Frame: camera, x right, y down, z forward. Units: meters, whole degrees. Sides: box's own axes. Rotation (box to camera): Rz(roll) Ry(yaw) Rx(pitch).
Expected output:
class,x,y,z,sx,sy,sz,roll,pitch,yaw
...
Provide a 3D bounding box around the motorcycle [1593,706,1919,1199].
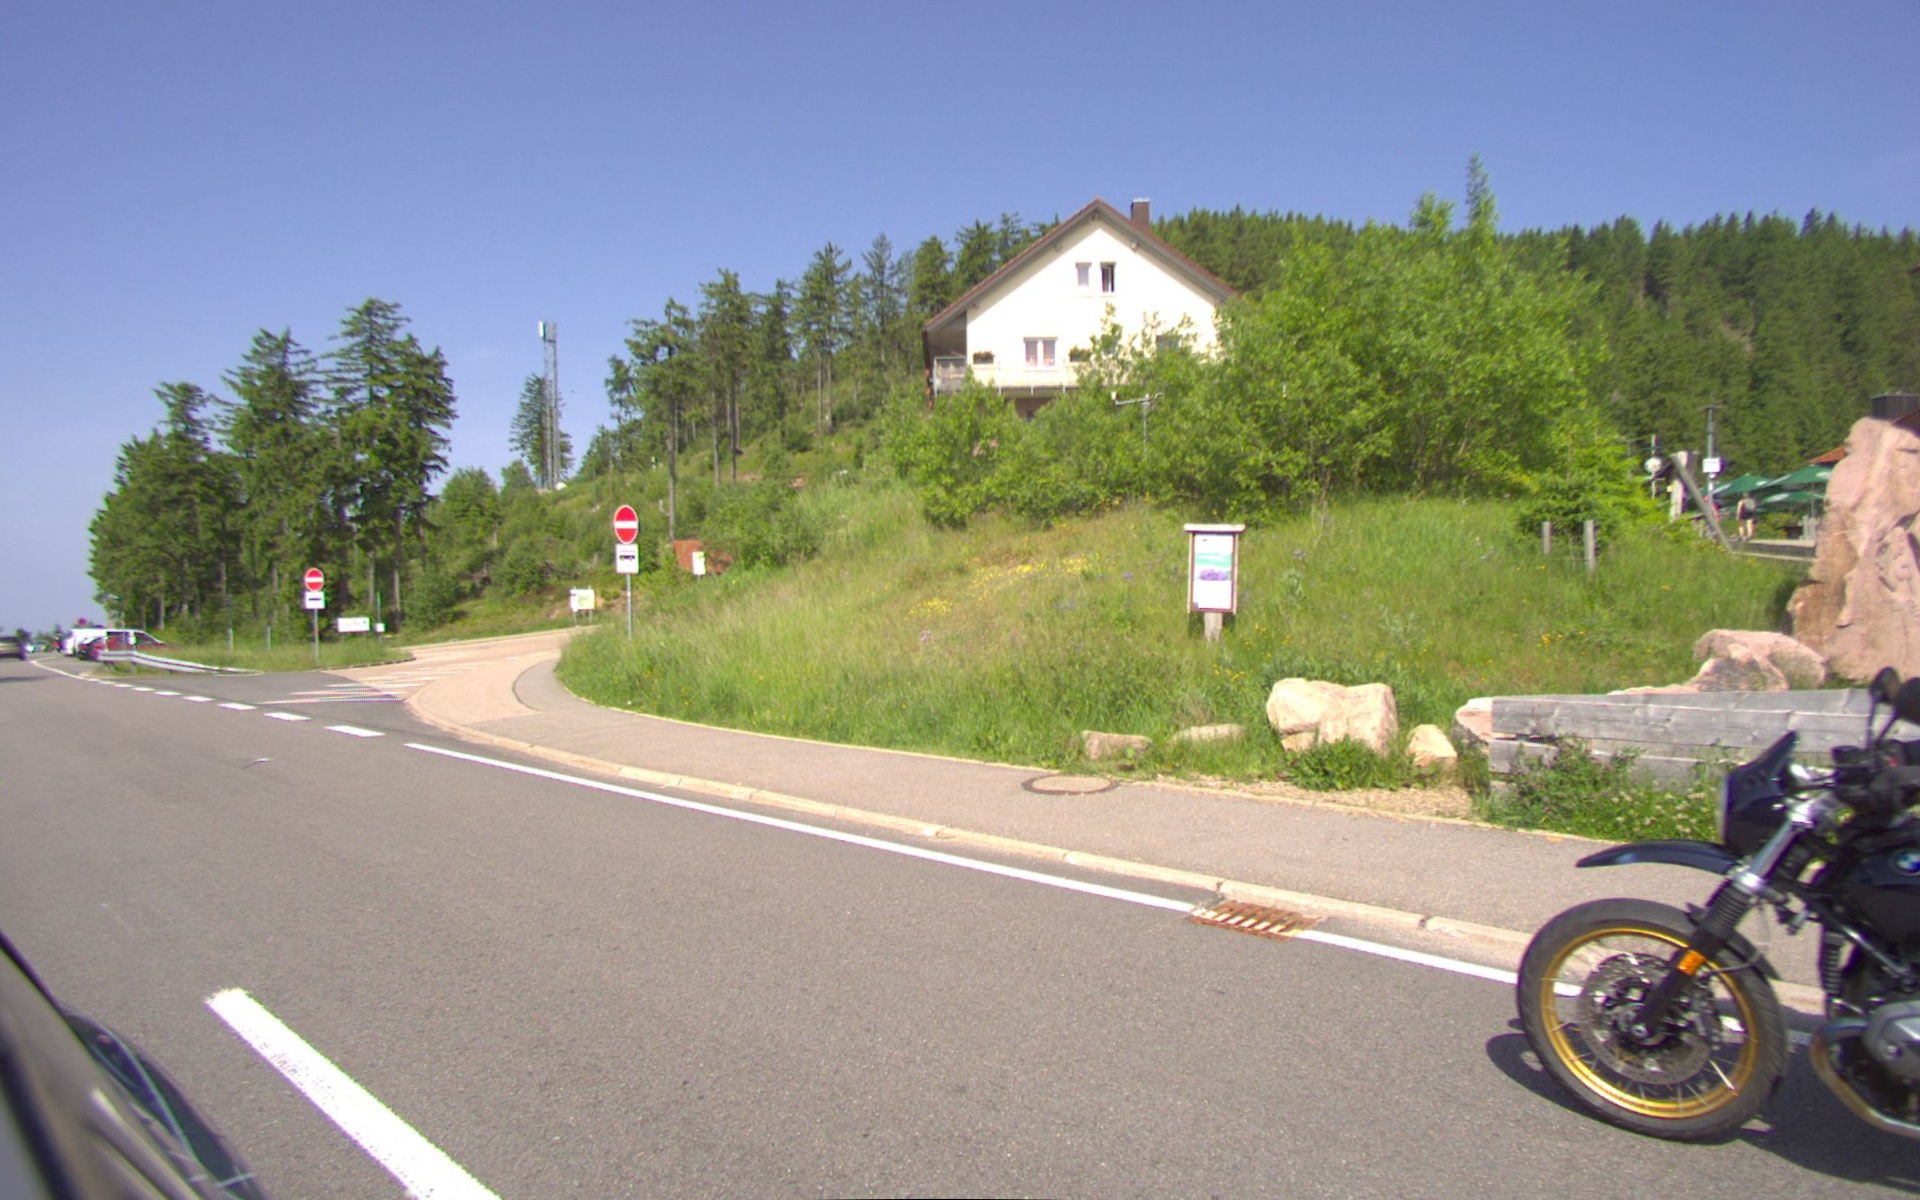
class,x,y,z,sx,sy,sz,roll,pitch,yaw
motorcycle,2.677,0.870,2.128,2.182,1.104,0.830,-1,-1,41

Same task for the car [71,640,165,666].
class,x,y,z,sx,sy,sz,roll,pitch,yaw
car,-52.020,3.255,62.563,1.931,1.537,4.187,-2,-3,41

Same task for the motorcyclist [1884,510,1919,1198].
class,x,y,z,sx,sy,sz,roll,pitch,yaw
motorcyclist,2.661,0.538,2.138,1.005,1.452,0.830,-1,-1,41

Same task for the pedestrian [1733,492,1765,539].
class,x,y,z,sx,sy,sz,roll,pitch,yaw
pedestrian,27.636,-2.961,35.450,0.565,1.552,0.633,-7,5,-3

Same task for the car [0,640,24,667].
class,x,y,z,sx,sy,sz,roll,pitch,yaw
car,-61.633,3.424,65.125,1.969,1.608,4.005,1,-2,-42

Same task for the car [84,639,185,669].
class,x,y,z,sx,sy,sz,roll,pitch,yaw
car,-44.959,2.911,55.154,4.101,1.522,1.933,2,-3,-44

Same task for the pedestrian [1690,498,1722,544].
class,x,y,z,sx,sy,sz,roll,pitch,yaw
pedestrian,26.635,-2.819,36.143,0.565,1.552,0.633,-7,5,-3

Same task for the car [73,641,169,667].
class,x,y,z,sx,sy,sz,roll,pitch,yaw
car,-47.055,3.018,56.782,1.931,1.384,3.877,-2,-3,41

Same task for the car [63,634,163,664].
class,x,y,z,sx,sy,sz,roll,pitch,yaw
car,-54.591,3.145,65.275,1.931,1.896,4.667,-2,-3,41
